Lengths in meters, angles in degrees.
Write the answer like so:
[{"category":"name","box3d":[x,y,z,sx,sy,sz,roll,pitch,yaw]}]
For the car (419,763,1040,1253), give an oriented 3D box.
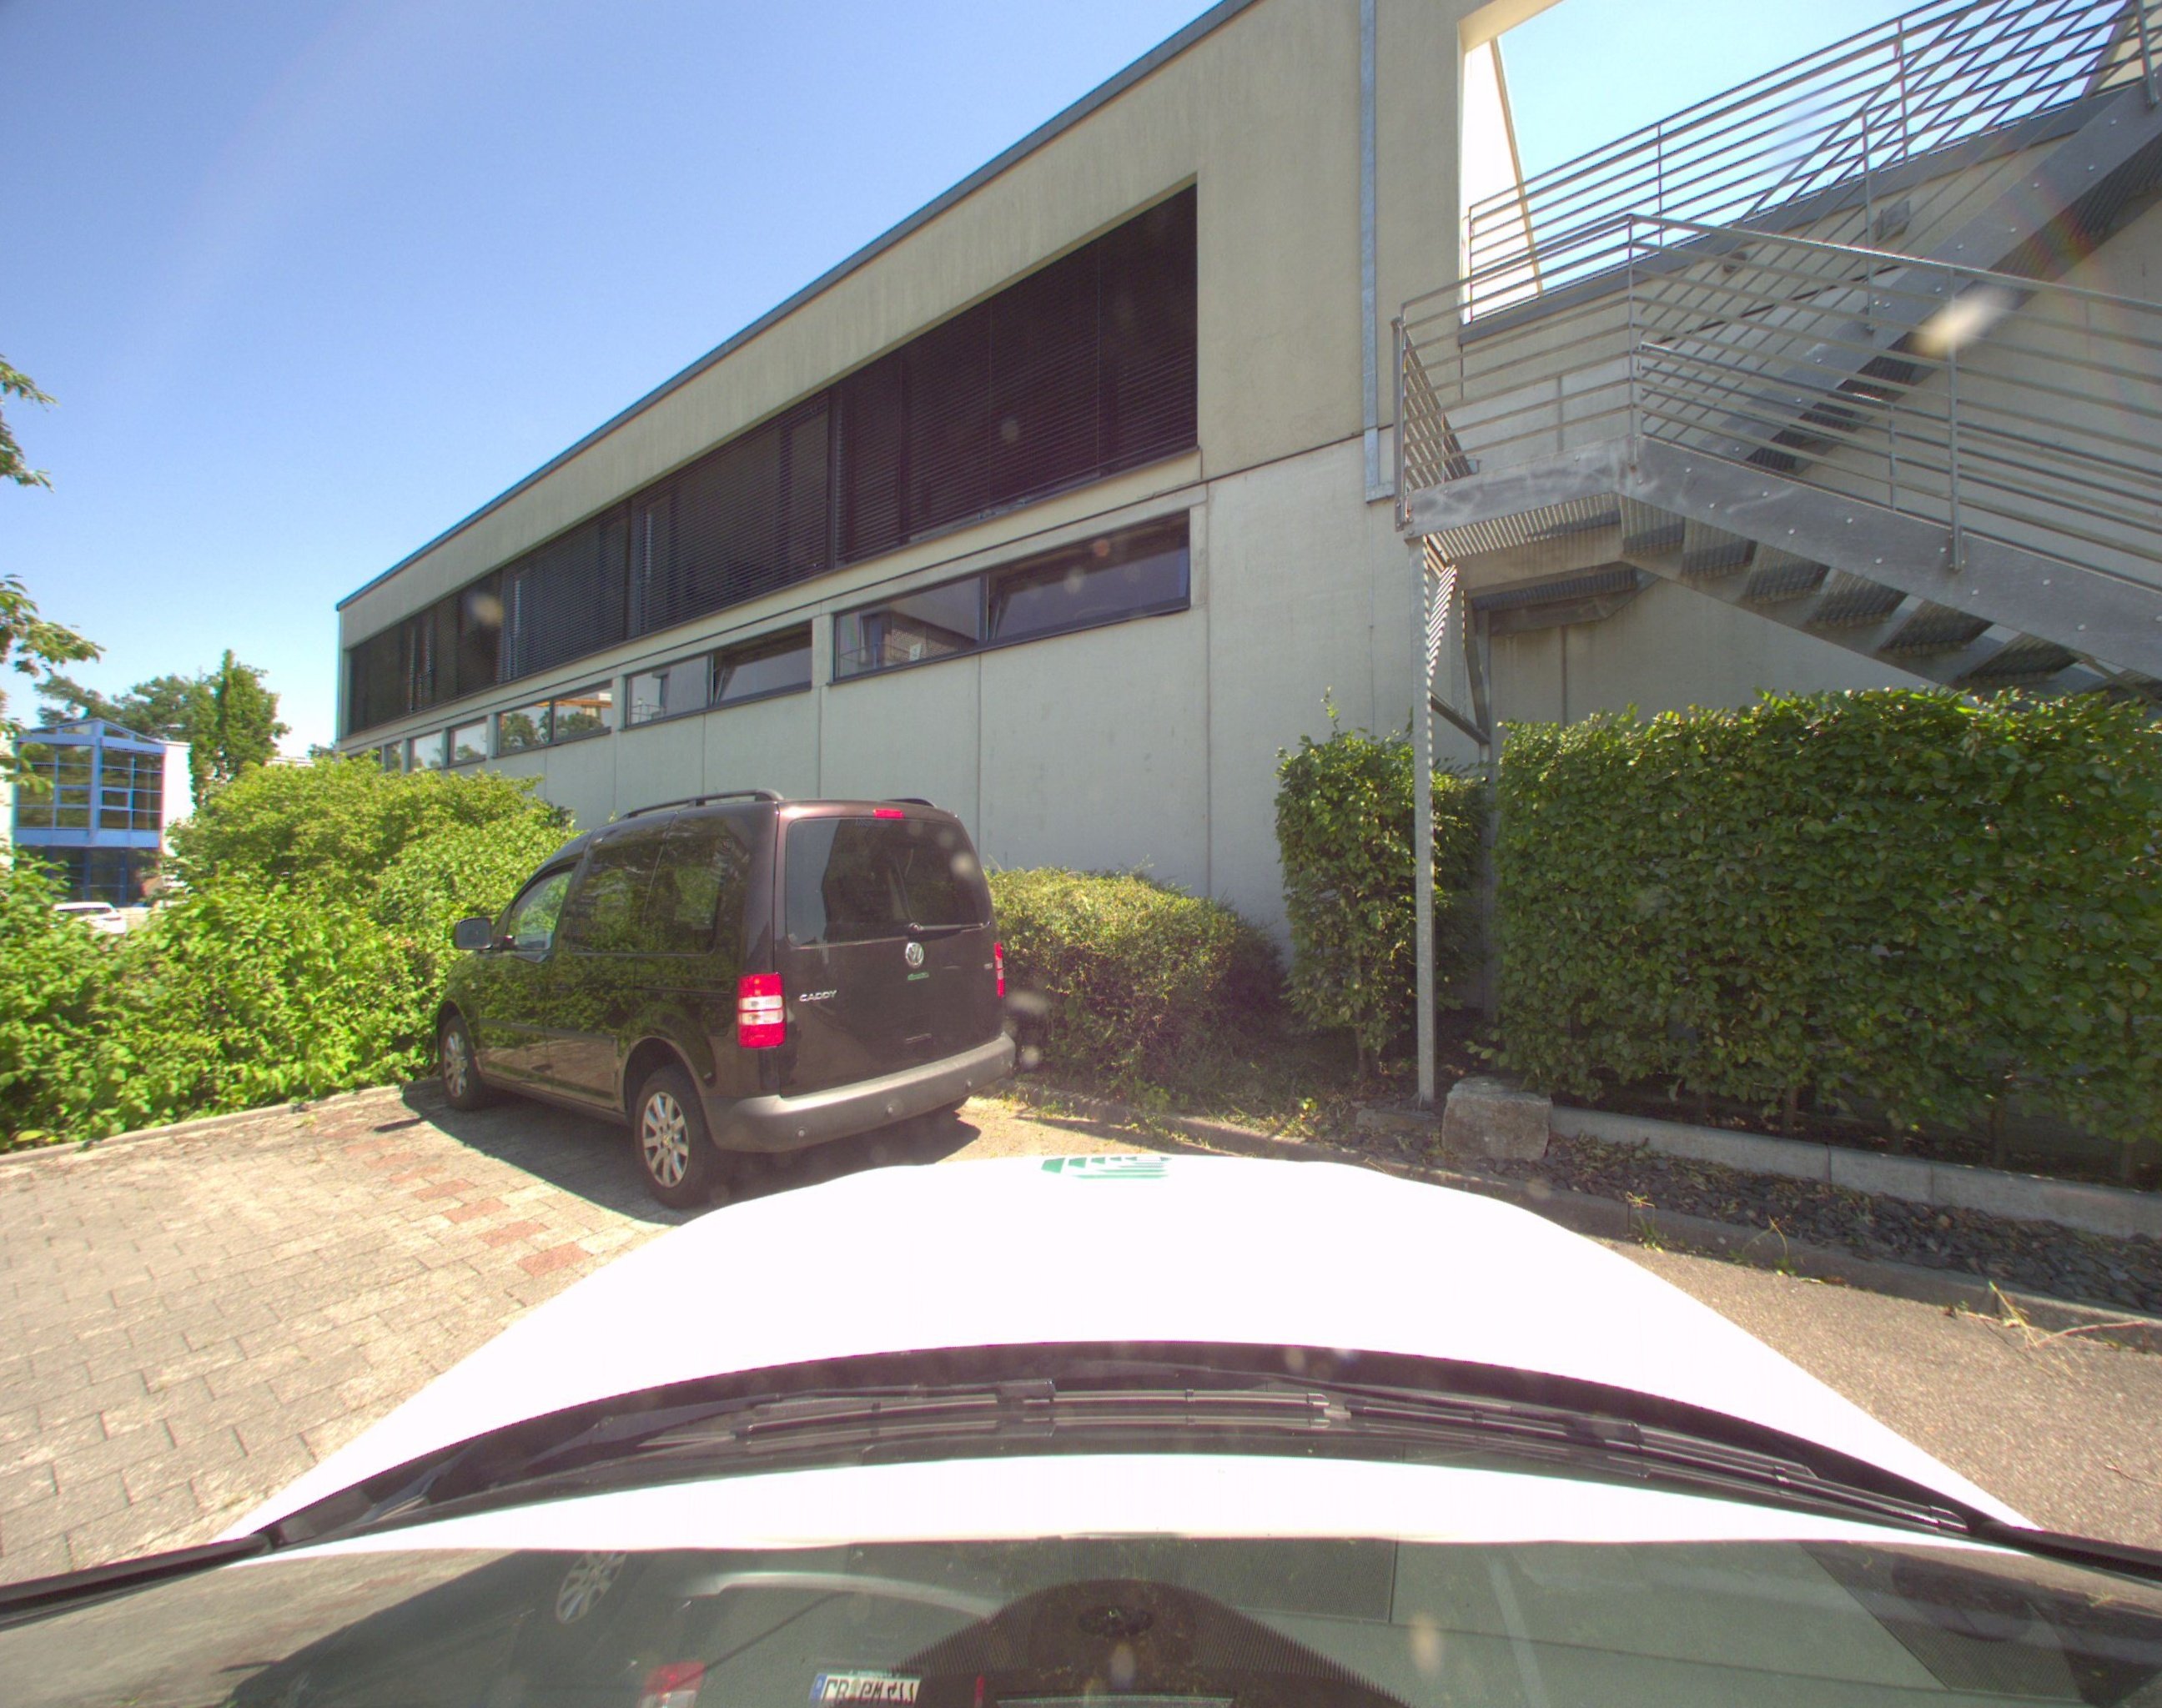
[{"category":"car","box3d":[-2.352,0.617,5.006,4.019,1.884,1.689,-1,-1,36]}]
